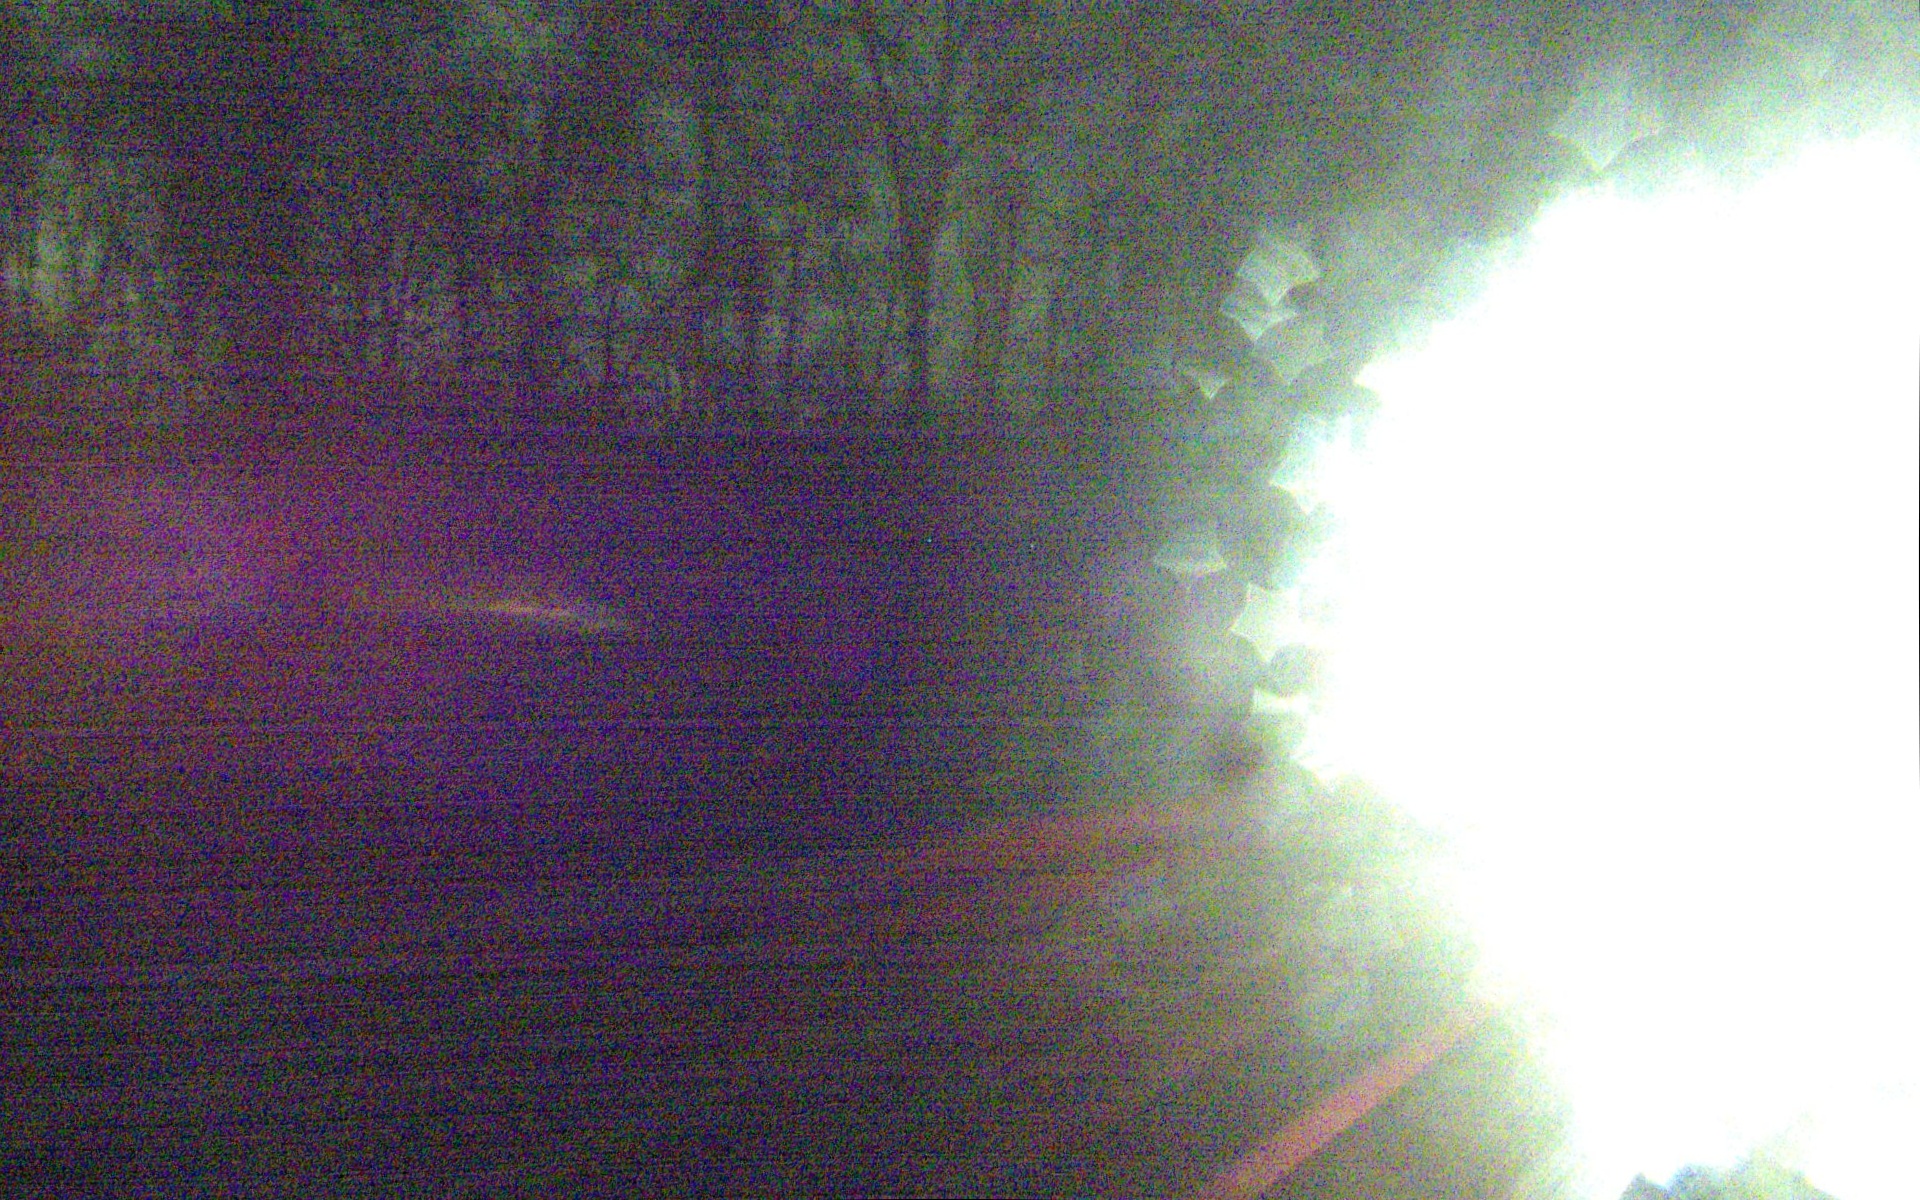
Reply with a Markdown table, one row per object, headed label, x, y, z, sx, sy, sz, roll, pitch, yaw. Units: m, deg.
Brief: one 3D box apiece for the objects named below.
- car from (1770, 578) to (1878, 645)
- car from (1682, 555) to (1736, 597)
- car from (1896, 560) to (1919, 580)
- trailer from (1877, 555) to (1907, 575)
| label | x | y | z | sx | sy | sz | roll | pitch | yaw |
| --- | --- | --- | --- | --- | --- | --- | --- | --- | --- |
| car | 25.379 | 0.267 | 29.862 | 1.881 | 1.631 | 3.953 | 3 | 4 | 34 |
| car | 39.877 | -1.248 | 53.975 | 1.985 | 2.040 | 3.952 | -2 | -2 | 33 |
| car | 101.196 | -3.166 | 107.209 | 1.985 | 2.037 | 4.757 | 3 | 4 | 32 |
| trailer | 174.448 | -6.526 | 189.483 | 2.602 | 3.514 | 10.316 | 3 | 4 | 35 |
